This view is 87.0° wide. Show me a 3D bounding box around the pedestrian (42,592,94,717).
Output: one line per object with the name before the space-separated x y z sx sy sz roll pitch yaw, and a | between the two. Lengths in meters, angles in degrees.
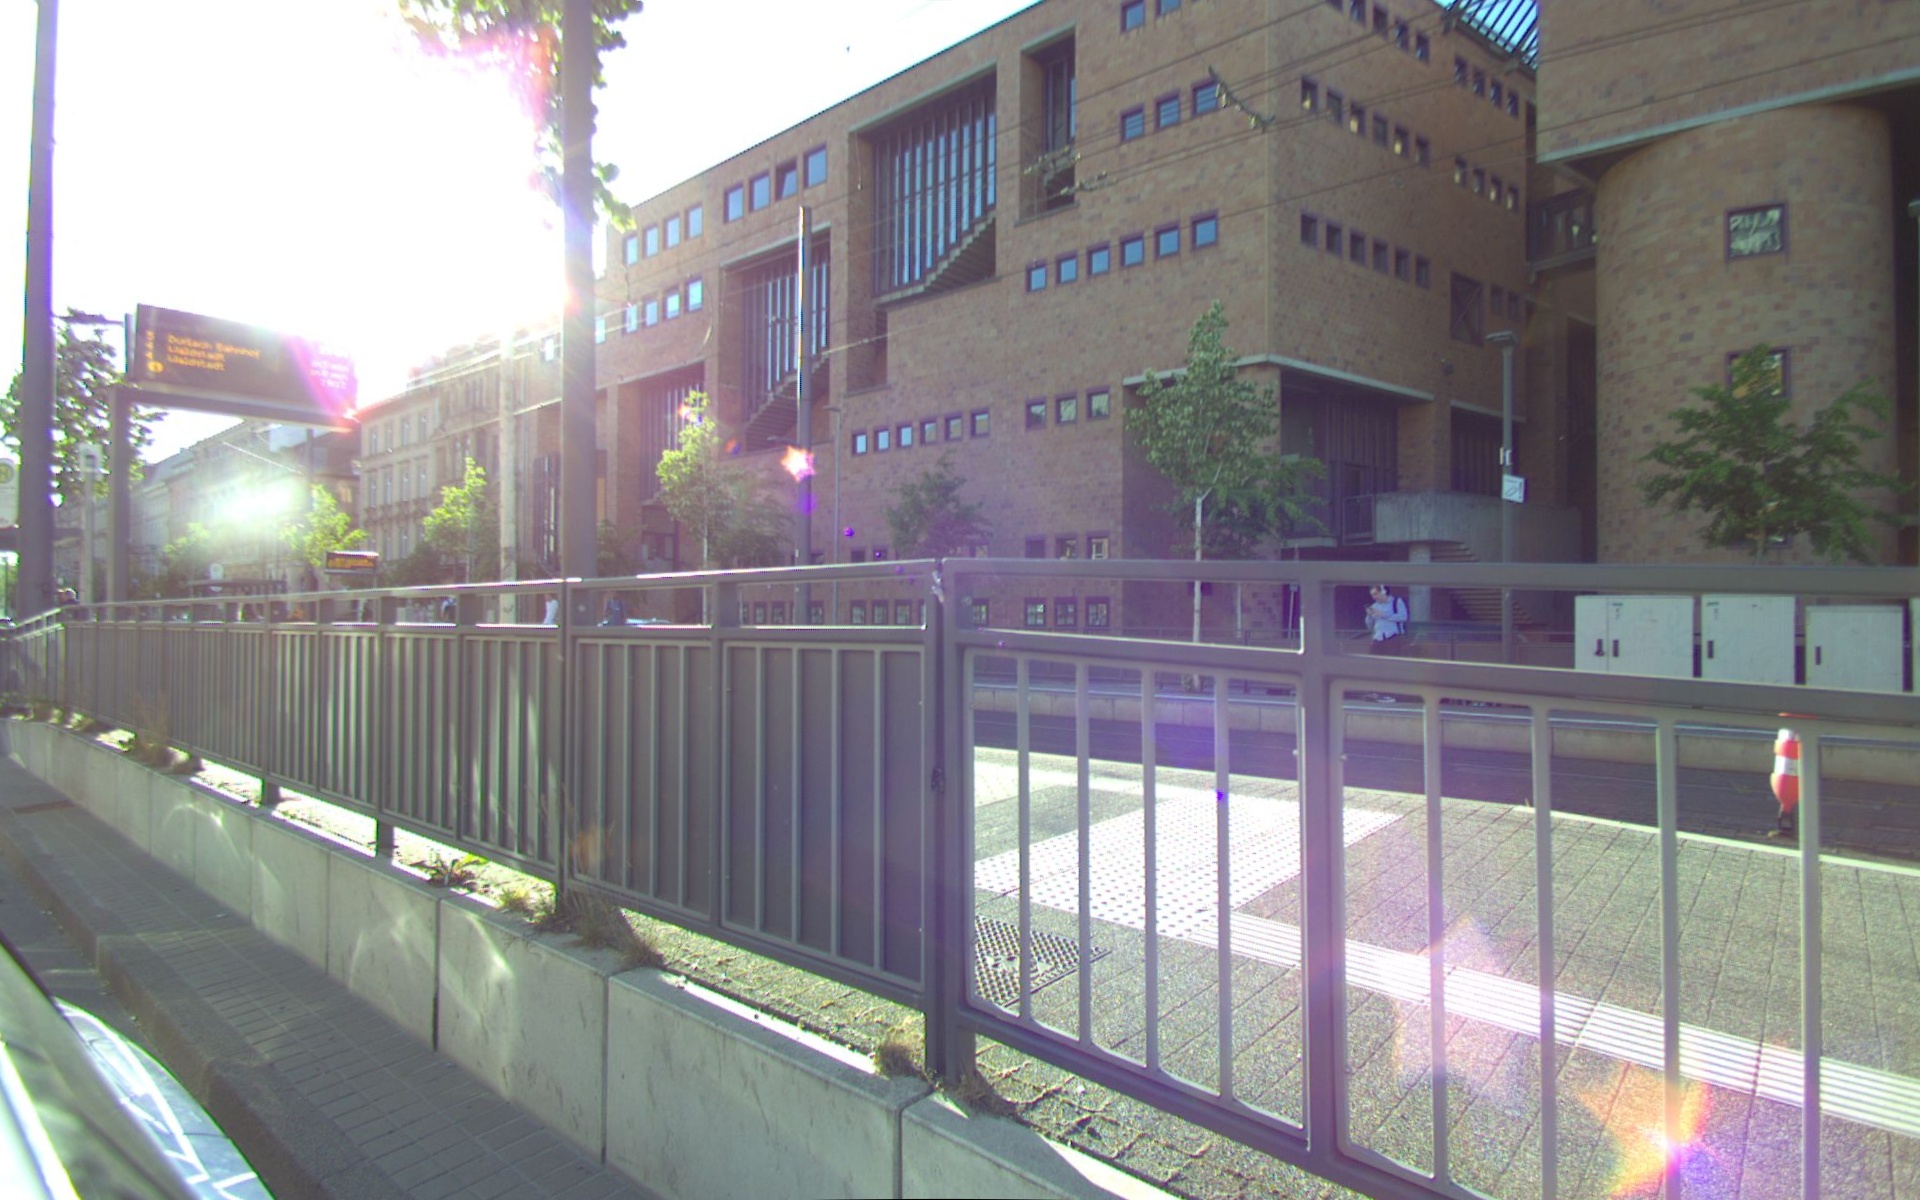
pedestrian | -17.894 1.068 20.301 0.625 2.461 0.676 0 0 38

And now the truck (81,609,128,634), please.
truck | -68.380 1.751 80.892 5.151 1.894 1.973 -2 -4 40

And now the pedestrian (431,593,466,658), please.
pedestrian | -14.653 0.718 28.975 0.668 1.821 0.677 0 0 40

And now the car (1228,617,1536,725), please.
car | 6.647 1.031 16.154 4.234 1.441 1.808 0 0 37

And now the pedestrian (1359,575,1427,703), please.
pedestrian | 5.749 0.500 13.439 0.684 1.647 0.660 0 0 37

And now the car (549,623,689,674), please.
car | -10.386 1.423 30.686 4.522 1.441 1.808 -1 -2 37

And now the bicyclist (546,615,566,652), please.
bicyclist | -17.275 1.438 43.267 0.650 1.545 0.580 0 0 41
